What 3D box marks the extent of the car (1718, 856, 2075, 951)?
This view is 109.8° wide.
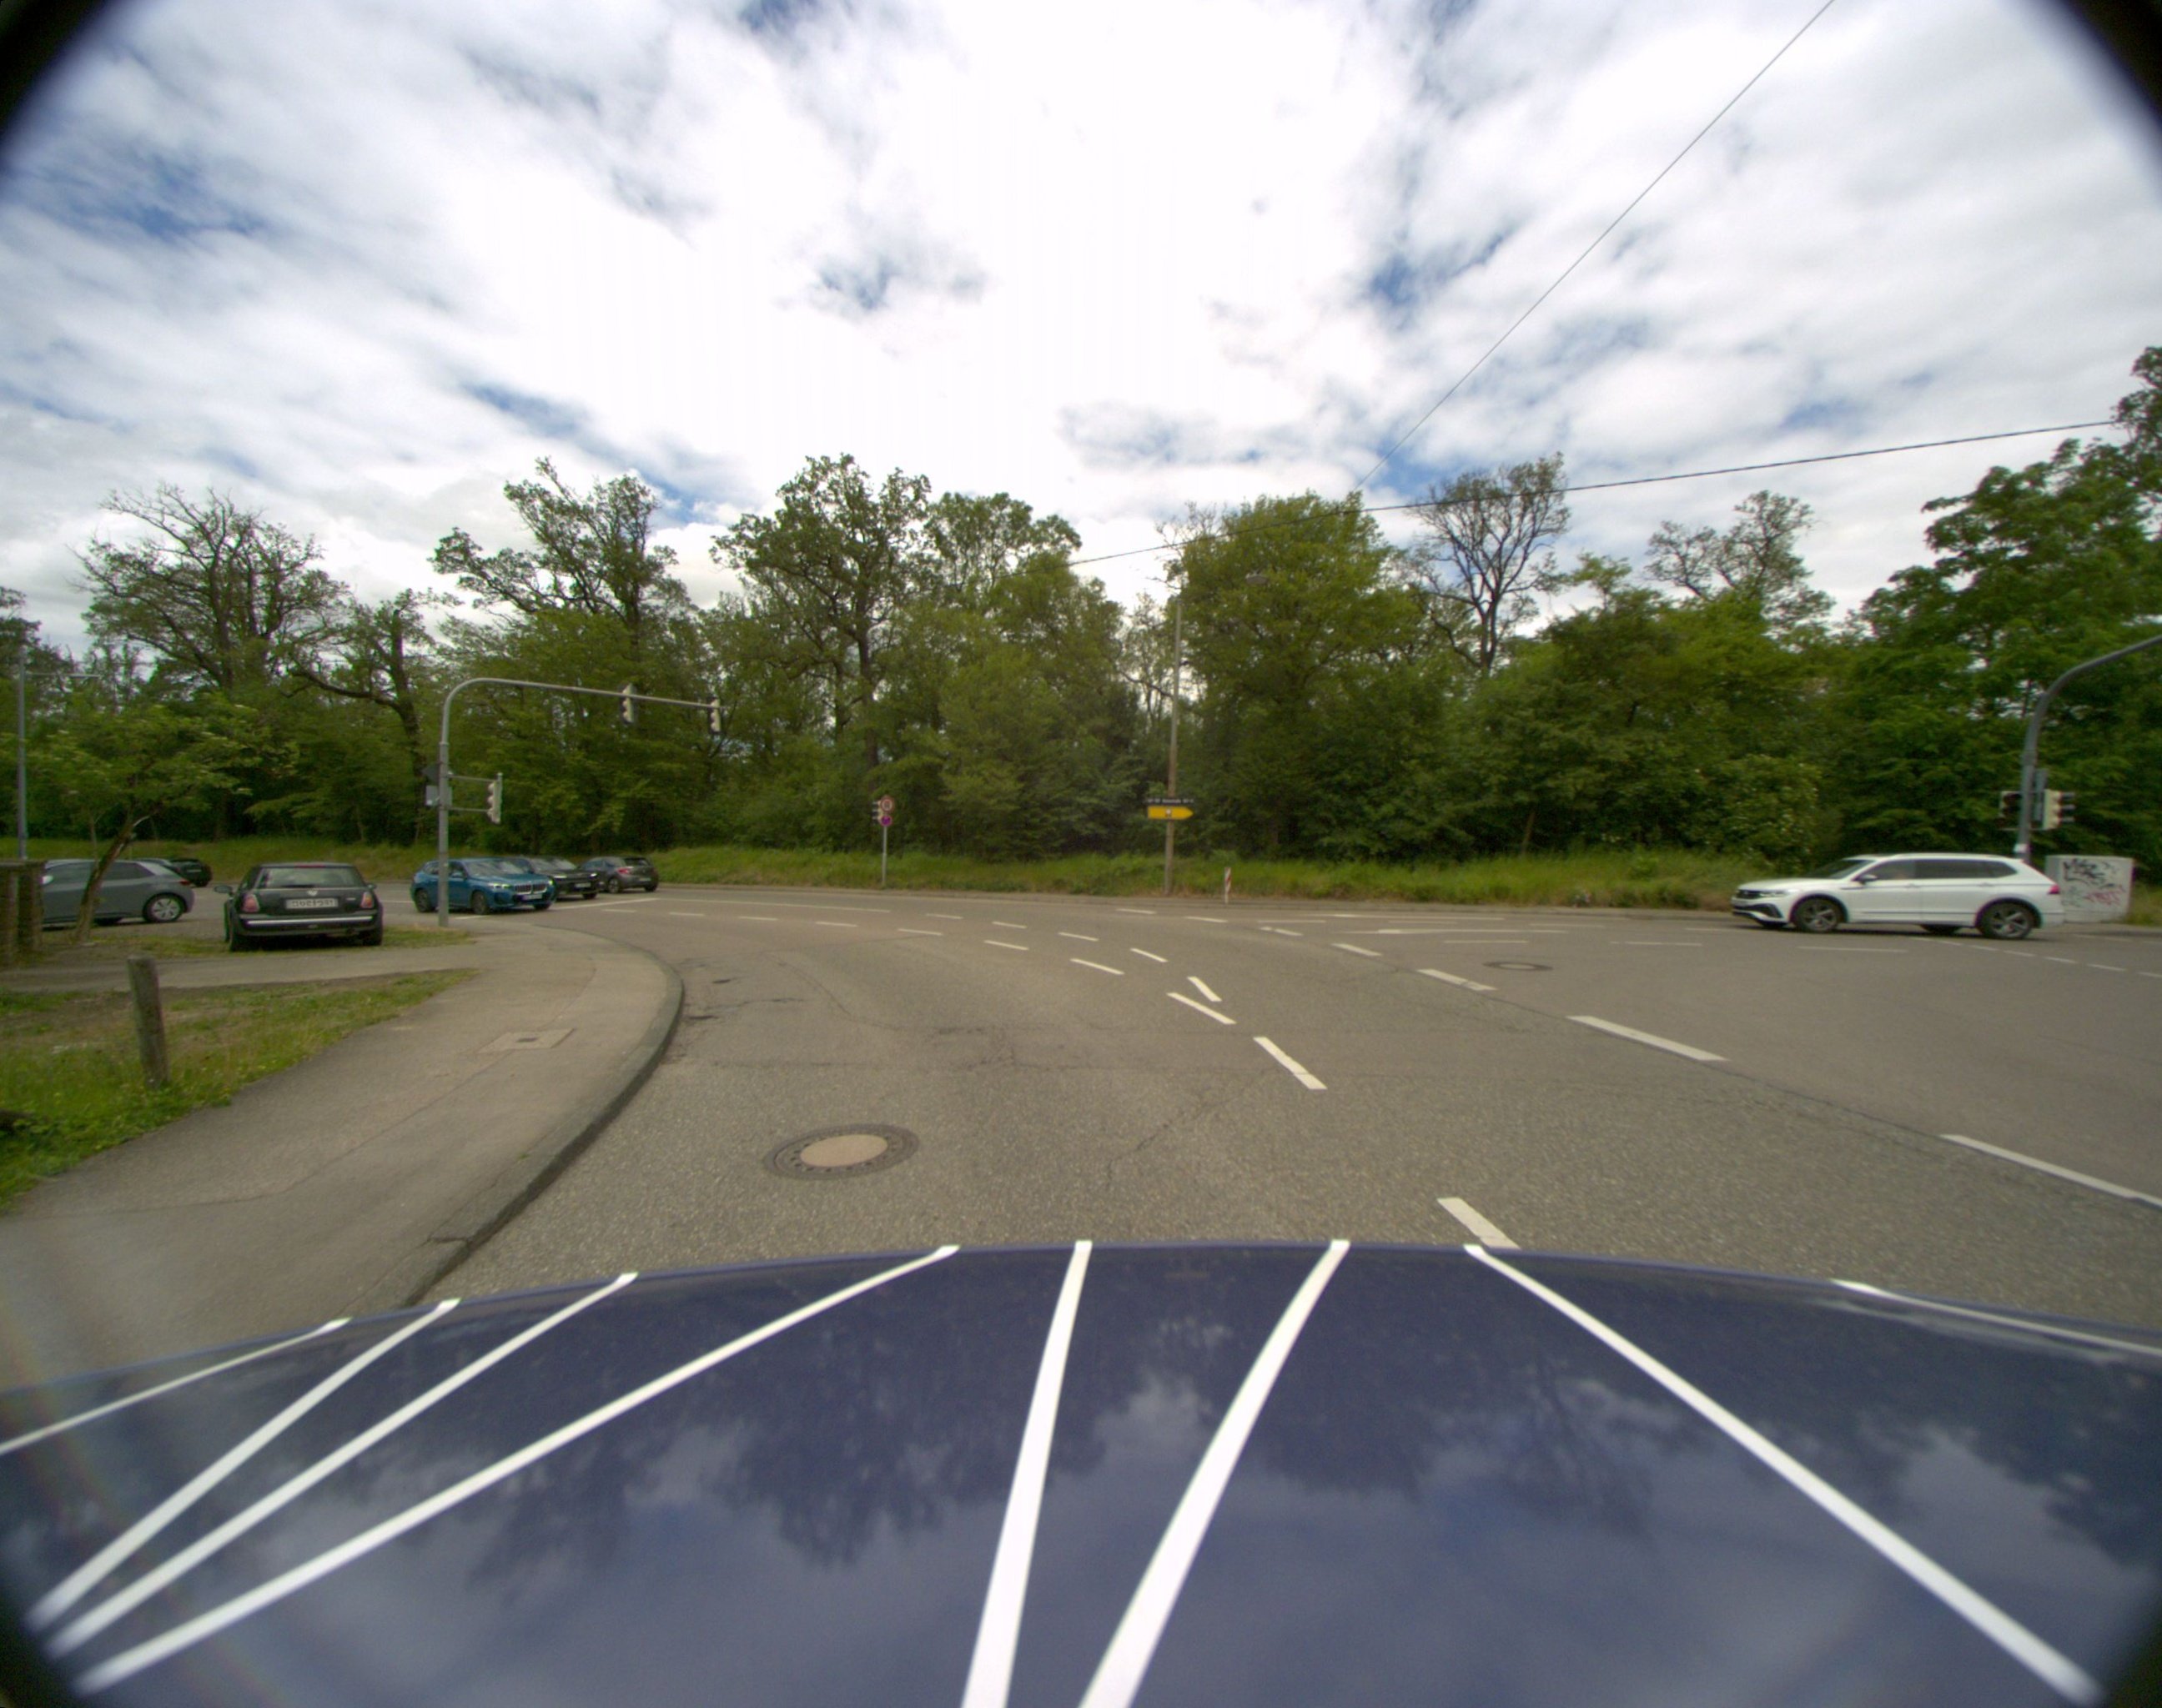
[{"bbox_3d":[16.429,0.921,15.663,4.643,1.618,1.867,2,0,19],"label":"car"}]

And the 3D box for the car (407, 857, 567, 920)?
[{"bbox_3d":[-17.571,0.948,22.505,3.990,1.568,1.918,1,3,22],"label":"car"}]

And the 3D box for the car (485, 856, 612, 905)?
[{"bbox_3d":[-18.443,0.863,26.316,3.990,1.499,1.740,0,3,25],"label":"car"}]

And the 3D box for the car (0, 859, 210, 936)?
[{"bbox_3d":[-22.501,0.923,16.781,1.660,1.516,4.001,-2,0,6],"label":"car"}]

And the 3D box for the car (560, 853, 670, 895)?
[{"bbox_3d":[-18.314,0.737,29.890,3.798,1.502,1.826,0,2,25],"label":"car"}]

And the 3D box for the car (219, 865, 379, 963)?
[{"bbox_3d":[-13.310,0.905,12.877,3.594,1.382,1.660,0,-1,41],"label":"car"}]

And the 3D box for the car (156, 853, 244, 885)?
[{"bbox_3d":[-42.812,0.716,36.903,3.990,1.438,1.708,0,1,25],"label":"car"}]
